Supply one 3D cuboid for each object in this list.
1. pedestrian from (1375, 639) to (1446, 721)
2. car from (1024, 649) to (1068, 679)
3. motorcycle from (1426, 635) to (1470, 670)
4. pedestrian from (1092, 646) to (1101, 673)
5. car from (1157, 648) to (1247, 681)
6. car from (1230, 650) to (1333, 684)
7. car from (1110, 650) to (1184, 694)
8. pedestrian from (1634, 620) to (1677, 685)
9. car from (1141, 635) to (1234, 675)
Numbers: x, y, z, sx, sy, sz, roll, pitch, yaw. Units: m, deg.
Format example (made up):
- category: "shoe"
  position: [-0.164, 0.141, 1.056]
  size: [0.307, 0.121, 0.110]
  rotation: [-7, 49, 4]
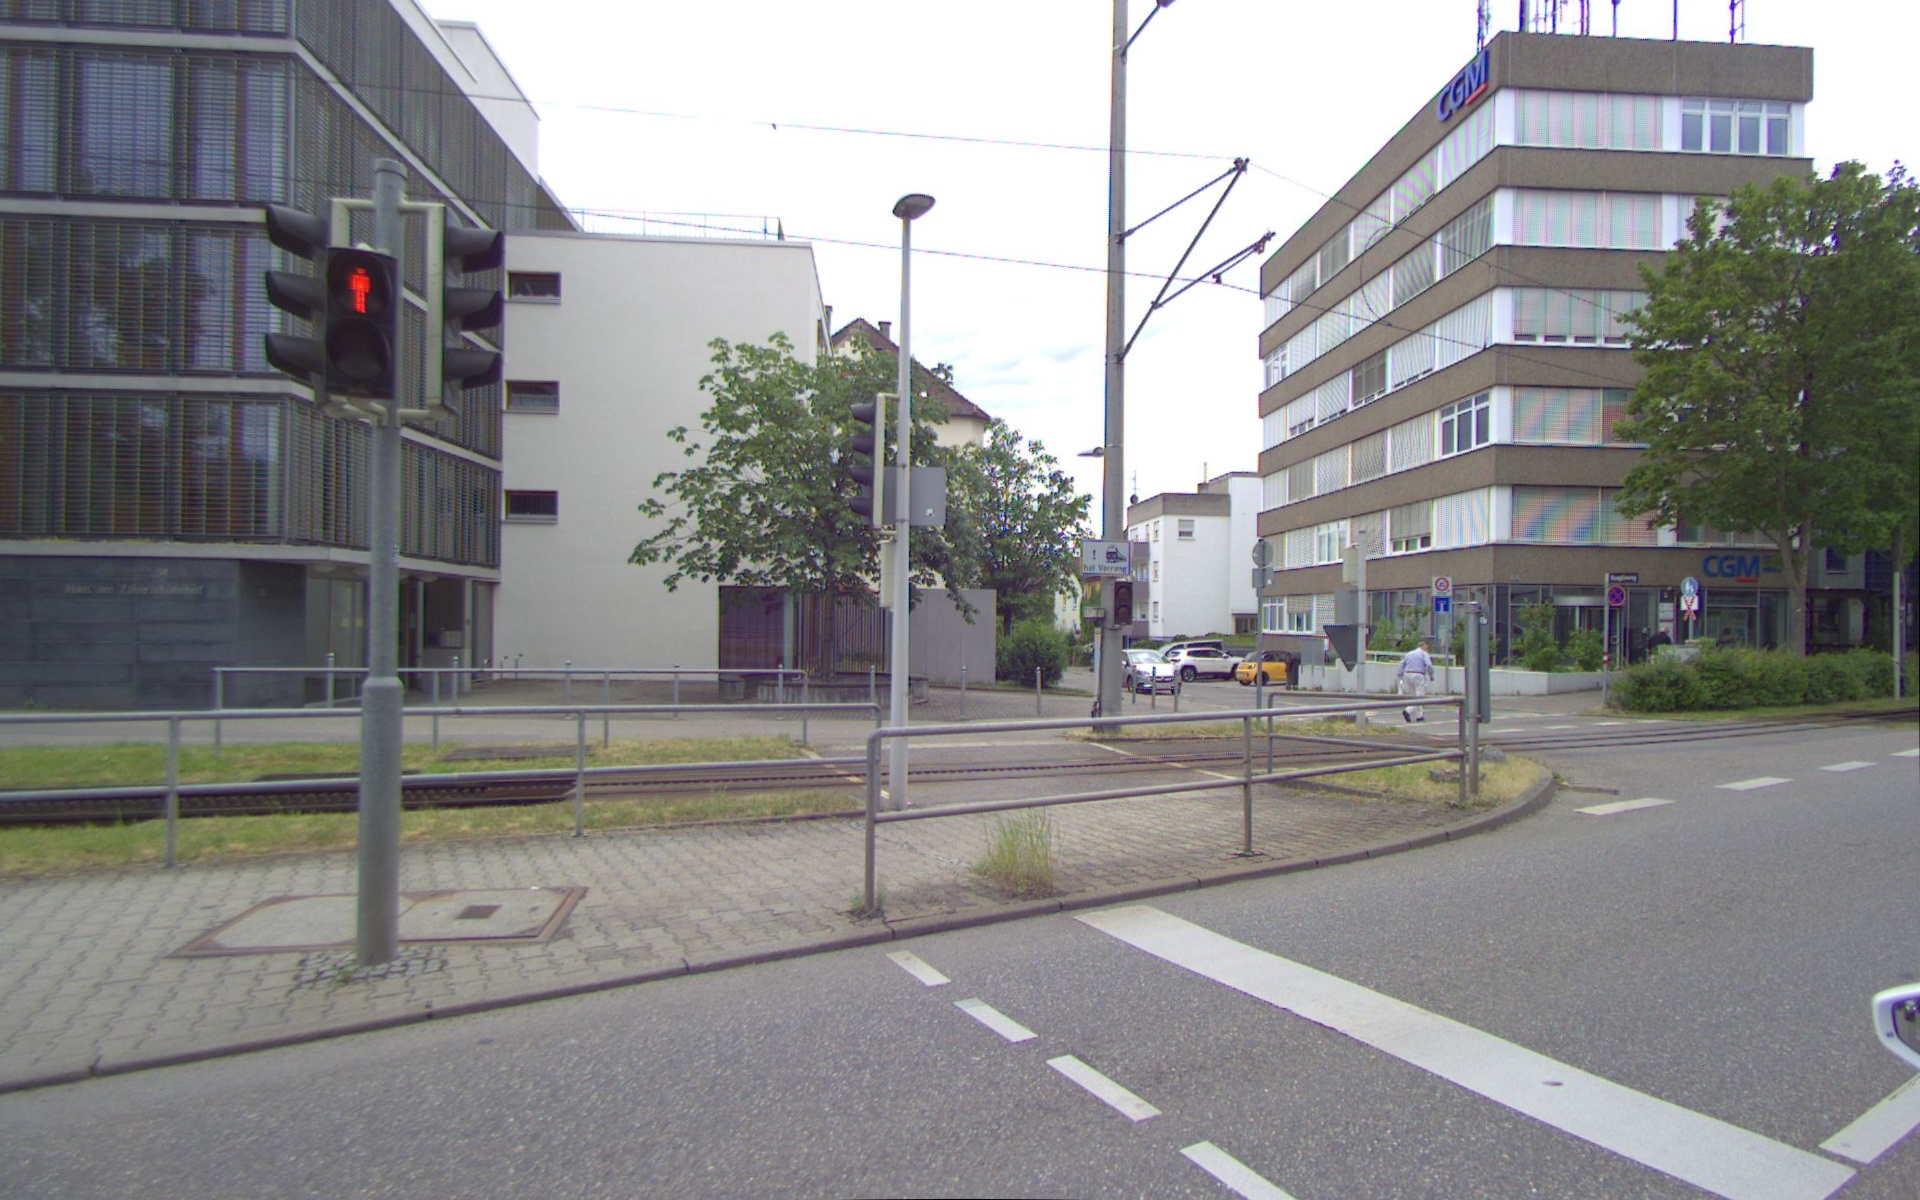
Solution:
- category: "pedestrian"
  position: [8.811, 1.536, 19.642]
  size: [0.984, 1.546, 0.843]
  rotation: [1, -2, -31]
- category: "car"
  position: [4.523, 3.379, 53.239]
  size: [1.644, 1.521, 3.998]
  rotation: [1, -3, -5]
- category: "motorcycle"
  position: [17.457, 1.858, 36.000]
  size: [0.557, 1.214, 1.884]
  rotation: [1, -1, -4]
- category: "pedestrian"
  position: [8.951, 3.900, 65.861]
  size: [0.520, 1.752, 0.467]
  rotation: [0, -1, -6]
- category: "car"
  position: [12.001, 3.193, 49.940]
  size: [3.927, 1.594, 1.853]
  rotation: [1, -3, -9]
- category: "car"
  position: [13.965, 2.922, 43.720]
  size: [3.927, 1.443, 1.729]
  rotation: [1, -3, -9]
- category: "car"
  position: [6.220, 2.399, 33.810]
  size: [1.610, 1.377, 4.000]
  rotation: [1, -3, -2]
- category: "pedestrian"
  position: [18.929, 1.427, 27.342]
  size: [0.674, 1.728, 0.685]
  rotation: [1, -2, -27]
- category: "car"
  position: [12.405, 3.019, 54.937]
  size: [4.602, 2.095, 1.853]
  rotation: [1, -3, -9]
